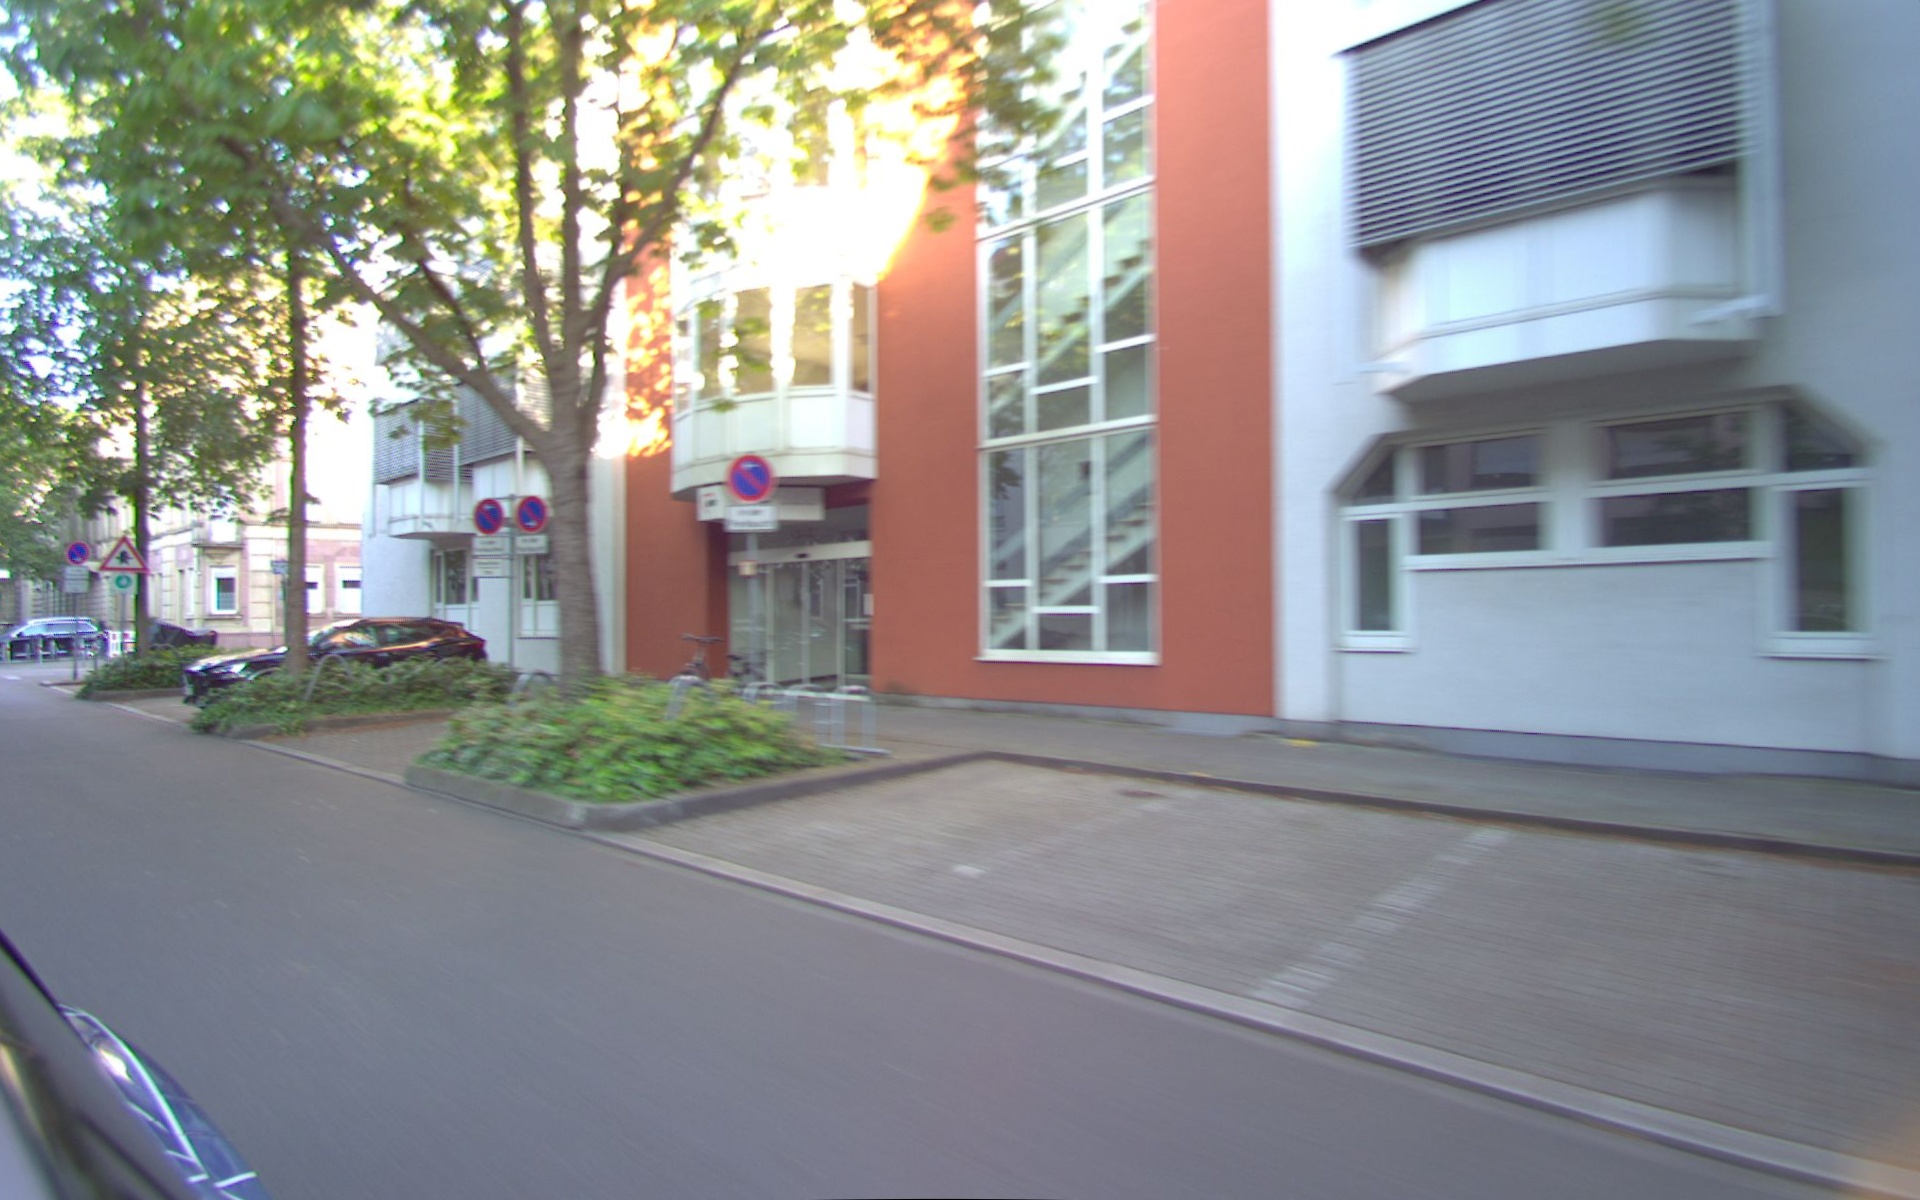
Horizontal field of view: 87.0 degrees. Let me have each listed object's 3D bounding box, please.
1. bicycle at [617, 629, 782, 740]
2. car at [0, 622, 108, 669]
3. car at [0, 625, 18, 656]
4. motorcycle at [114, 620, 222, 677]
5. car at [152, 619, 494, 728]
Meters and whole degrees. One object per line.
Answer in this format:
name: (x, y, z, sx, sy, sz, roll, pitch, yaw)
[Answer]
bicycle: (-3.015, 0.944, 11.928, 0.654, 1.185, 1.942, -1, -2, 34)
car: (-36.629, 1.782, 39.899, 4.538, 1.748, 2.142, 1, -2, -44)
car: (-54.878, 2.248, 55.569, 1.999, 1.729, 4.470, -2, -1, 41)
motorcycle: (-21.679, 1.307, 27.773, 0.895, 1.481, 2.218, -1, -1, 18)
car: (-10.379, 1.095, 16.781, 1.870, 1.537, 4.463, -1, -1, 40)
